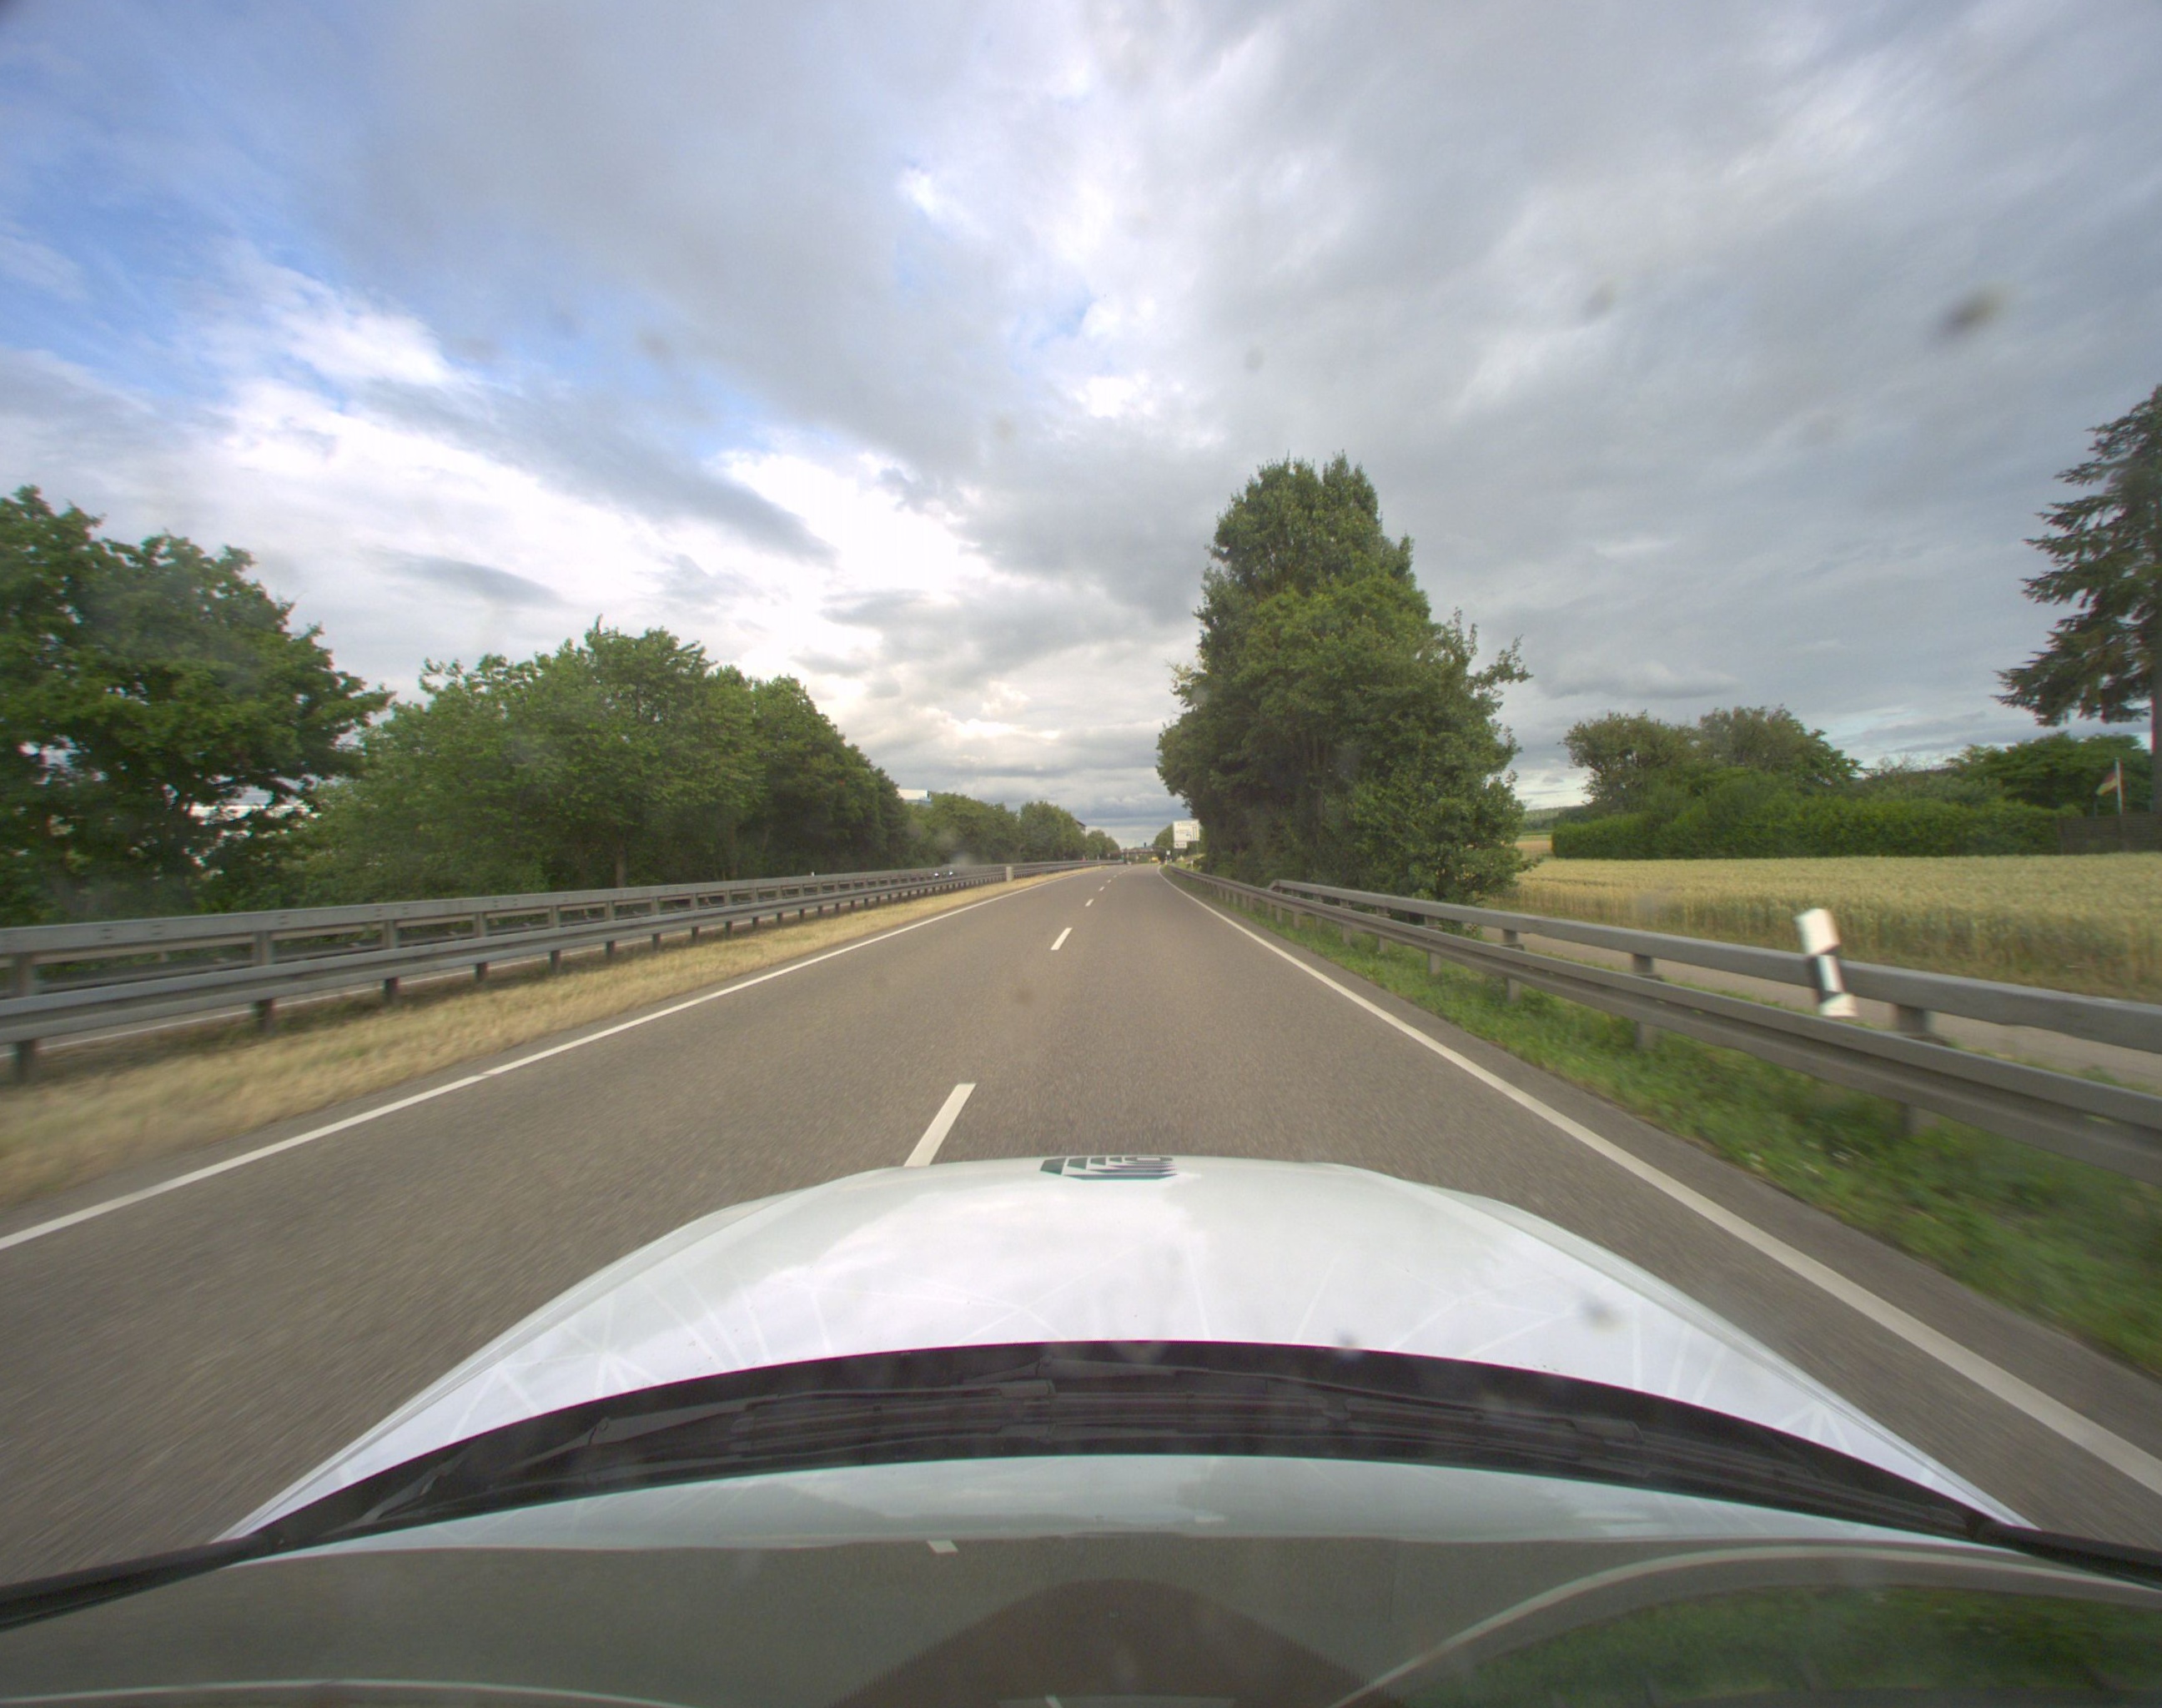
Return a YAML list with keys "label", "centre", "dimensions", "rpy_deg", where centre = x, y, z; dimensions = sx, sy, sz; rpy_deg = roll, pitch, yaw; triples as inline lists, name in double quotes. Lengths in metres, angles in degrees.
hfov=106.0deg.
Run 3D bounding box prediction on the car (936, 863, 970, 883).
- label: "car"
  centre: [-10.809, 1.586, 68.898]
  dimensions: [1.817, 1.544, 4.591]
  rpy_deg: [-3, 0, 3]
